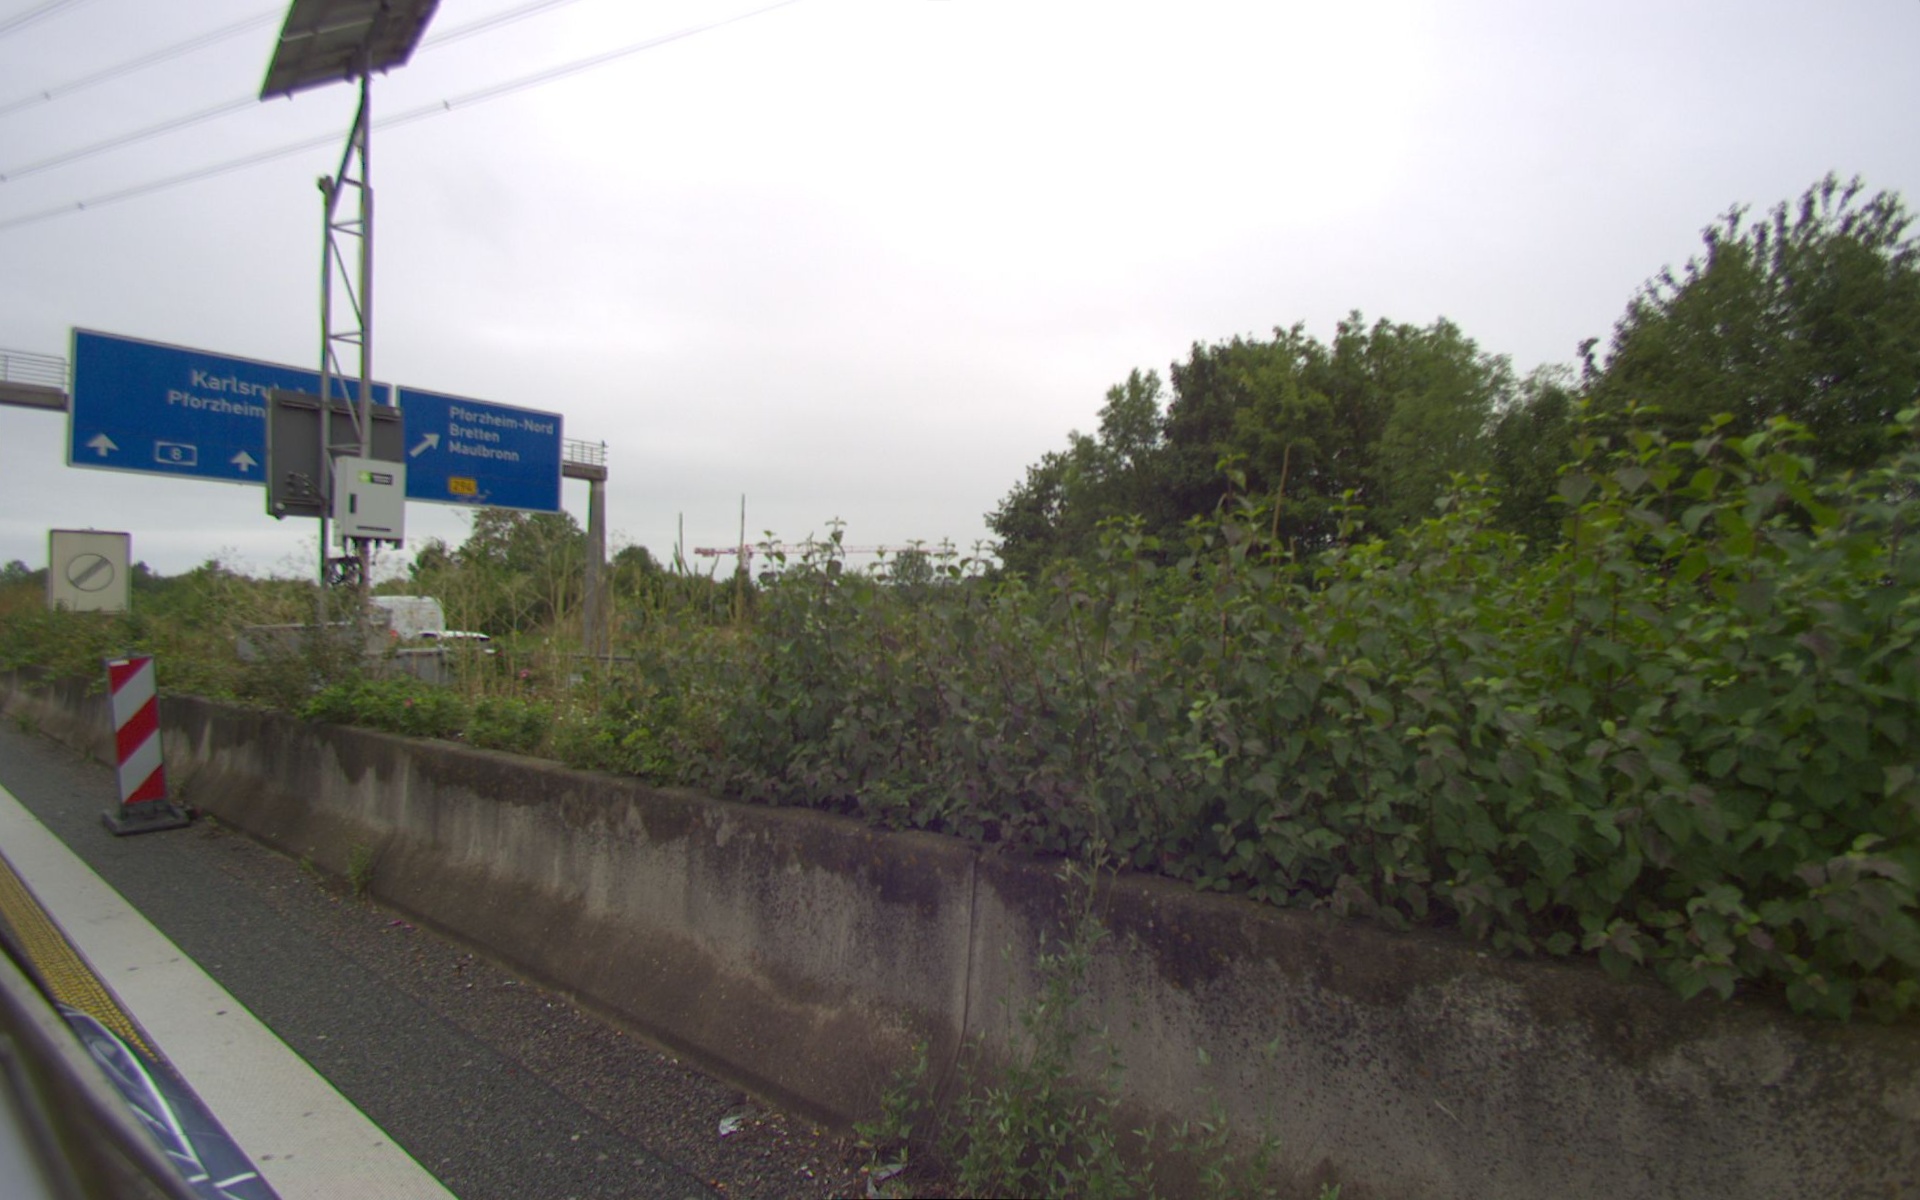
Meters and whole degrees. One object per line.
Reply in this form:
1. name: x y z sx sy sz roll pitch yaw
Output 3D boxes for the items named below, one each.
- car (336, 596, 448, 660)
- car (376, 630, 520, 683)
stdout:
1. car: -21.722 1.060 38.615 5.201 2.282 2.157 -1 -1 41
2. car: -13.241 1.404 26.085 3.998 1.200 1.973 -1 -1 41
